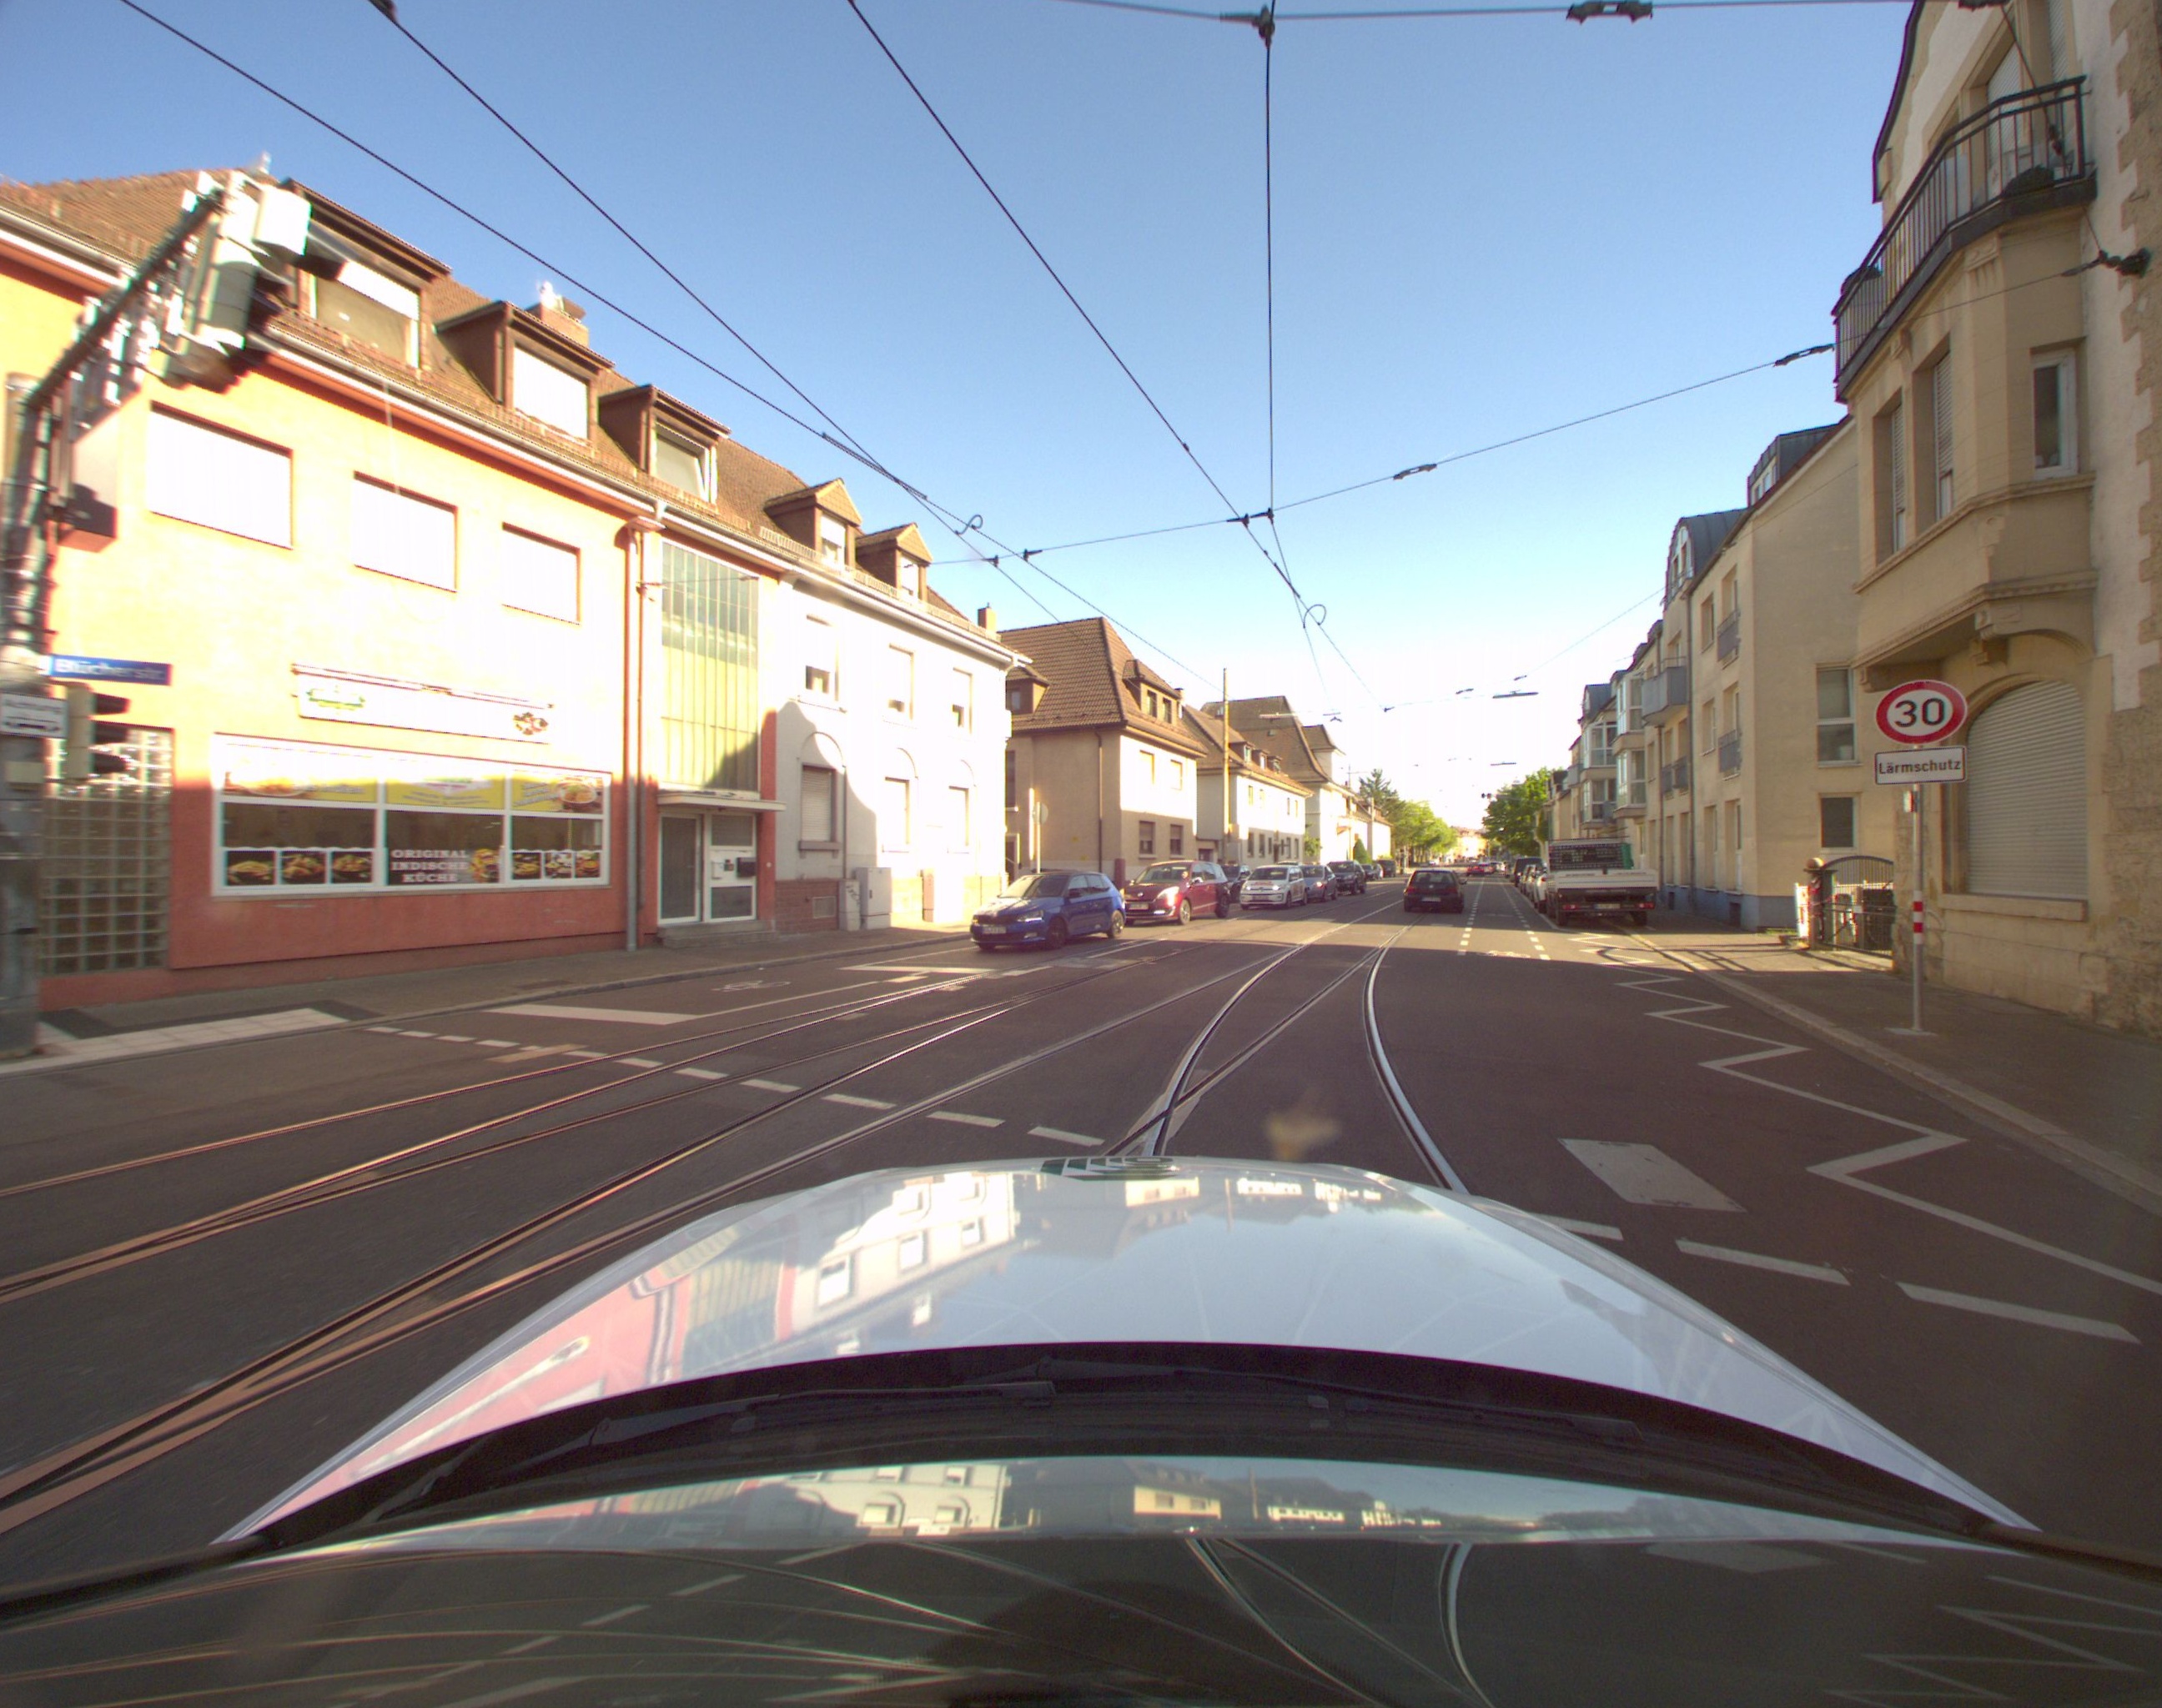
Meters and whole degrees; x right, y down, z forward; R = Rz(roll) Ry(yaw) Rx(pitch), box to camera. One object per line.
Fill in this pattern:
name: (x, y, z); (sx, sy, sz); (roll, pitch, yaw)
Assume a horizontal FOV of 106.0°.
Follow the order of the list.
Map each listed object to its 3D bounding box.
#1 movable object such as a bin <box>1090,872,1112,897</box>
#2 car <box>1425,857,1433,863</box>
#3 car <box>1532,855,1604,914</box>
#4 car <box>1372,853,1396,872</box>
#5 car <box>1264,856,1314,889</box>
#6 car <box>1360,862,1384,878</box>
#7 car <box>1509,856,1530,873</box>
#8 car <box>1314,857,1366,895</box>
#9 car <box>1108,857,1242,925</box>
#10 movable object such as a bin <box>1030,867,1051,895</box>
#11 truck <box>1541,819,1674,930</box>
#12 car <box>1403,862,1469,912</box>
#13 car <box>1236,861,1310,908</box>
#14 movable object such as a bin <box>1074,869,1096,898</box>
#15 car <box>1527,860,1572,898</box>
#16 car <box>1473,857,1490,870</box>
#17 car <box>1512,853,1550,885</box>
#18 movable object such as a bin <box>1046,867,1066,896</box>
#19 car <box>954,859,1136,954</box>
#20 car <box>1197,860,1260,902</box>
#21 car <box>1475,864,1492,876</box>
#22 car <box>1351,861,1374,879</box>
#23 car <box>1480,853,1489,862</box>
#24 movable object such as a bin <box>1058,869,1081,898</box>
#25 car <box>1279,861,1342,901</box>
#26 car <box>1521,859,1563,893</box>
movable object such as a bin: (0.793, 1.184, 31.862); (0.651, 0.944, 0.586); (2, 1, 26)
car: (82.193, 1.424, 192.166); (1.561, 1.477, 3.458); (-2, -1, 21)
car: (16.076, 0.933, 27.061); (1.723, 1.746, 4.281); (1, 0, 27)
car: (33.867, 0.888, 90.906); (1.888, 2.014, 4.979); (1, 0, 28)
car: (11.655, 1.000, 45.470); (1.745, 1.705, 4.582); (-2, -1, 26)
car: (28.061, 1.504, 78.556); (1.661, 1.477, 3.858); (1, 0, 27)
car: (43.302, 1.017, 80.497); (1.587, 1.525, 3.569); (1, 0, 25)
car: (12.470, 1.002, 39.034); (1.688, 1.705, 4.390); (-1, -1, 27)
car: (2.657, 0.926, 21.882); (1.721, 1.611, 4.744); (-3, -1, 31)
movable object such as a bin: (-1.632, 1.082, 32.940); (0.609, 1.111, 0.594); (2, 1, 26)
truck: (13.592, 0.474, 21.443); (2.274, 2.477, 6.183); (-1, 0, 27)
car: (11.611, 1.018, 26.480); (1.700, 1.402, 4.030); (2, 1, 27)
car: (6.716, 1.025, 28.210); (1.567, 1.461, 3.635); (-3, -1, 28)
movable object such as a bin: (0.156, 1.157, 32.058); (0.610, 1.080, 0.676); (2, 1, 26)
car: (20.947, 1.072, 36.475); (1.483, 1.557, 3.384); (1, 0, 26)
car: (43.486, 1.059, 88.405); (1.619, 1.372, 3.780); (-1, -1, 27)
car: (29.360, 0.949, 53.233); (1.888, 1.987, 4.589); (1, 0, 26)
movable object such as a bin: (-1.001, 1.092, 32.678); (0.564, 1.111, 0.594); (2, 1, 26)
car: (-0.556, 0.943, 15.894); (1.668, 1.567, 3.952); (-3, -2, 29)
car: (6.346, 1.120, 34.787); (1.600, 1.628, 3.944); (-2, -1, 26)
car: (48.635, 1.902, 98.369); (1.723, 1.441, 3.832); (-1, 0, 27)
car: (24.988, 1.410, 72.214); (1.648, 1.477, 4.274); (-1, 0, 23)
car: (91.474, 0.805, 184.754); (1.771, 1.859, 4.023); (2, 1, 25)
movable object such as a bin: (-0.452, 1.162, 32.339); (0.636, 1.111, 0.676); (2, 1, 26)
car: (9.275, 1.067, 32.697); (1.602, 1.461, 4.099); (-2, -1, 27)
car: (22.725, 1.047, 40.216); (1.539, 1.557, 3.673); (1, 0, 26)
